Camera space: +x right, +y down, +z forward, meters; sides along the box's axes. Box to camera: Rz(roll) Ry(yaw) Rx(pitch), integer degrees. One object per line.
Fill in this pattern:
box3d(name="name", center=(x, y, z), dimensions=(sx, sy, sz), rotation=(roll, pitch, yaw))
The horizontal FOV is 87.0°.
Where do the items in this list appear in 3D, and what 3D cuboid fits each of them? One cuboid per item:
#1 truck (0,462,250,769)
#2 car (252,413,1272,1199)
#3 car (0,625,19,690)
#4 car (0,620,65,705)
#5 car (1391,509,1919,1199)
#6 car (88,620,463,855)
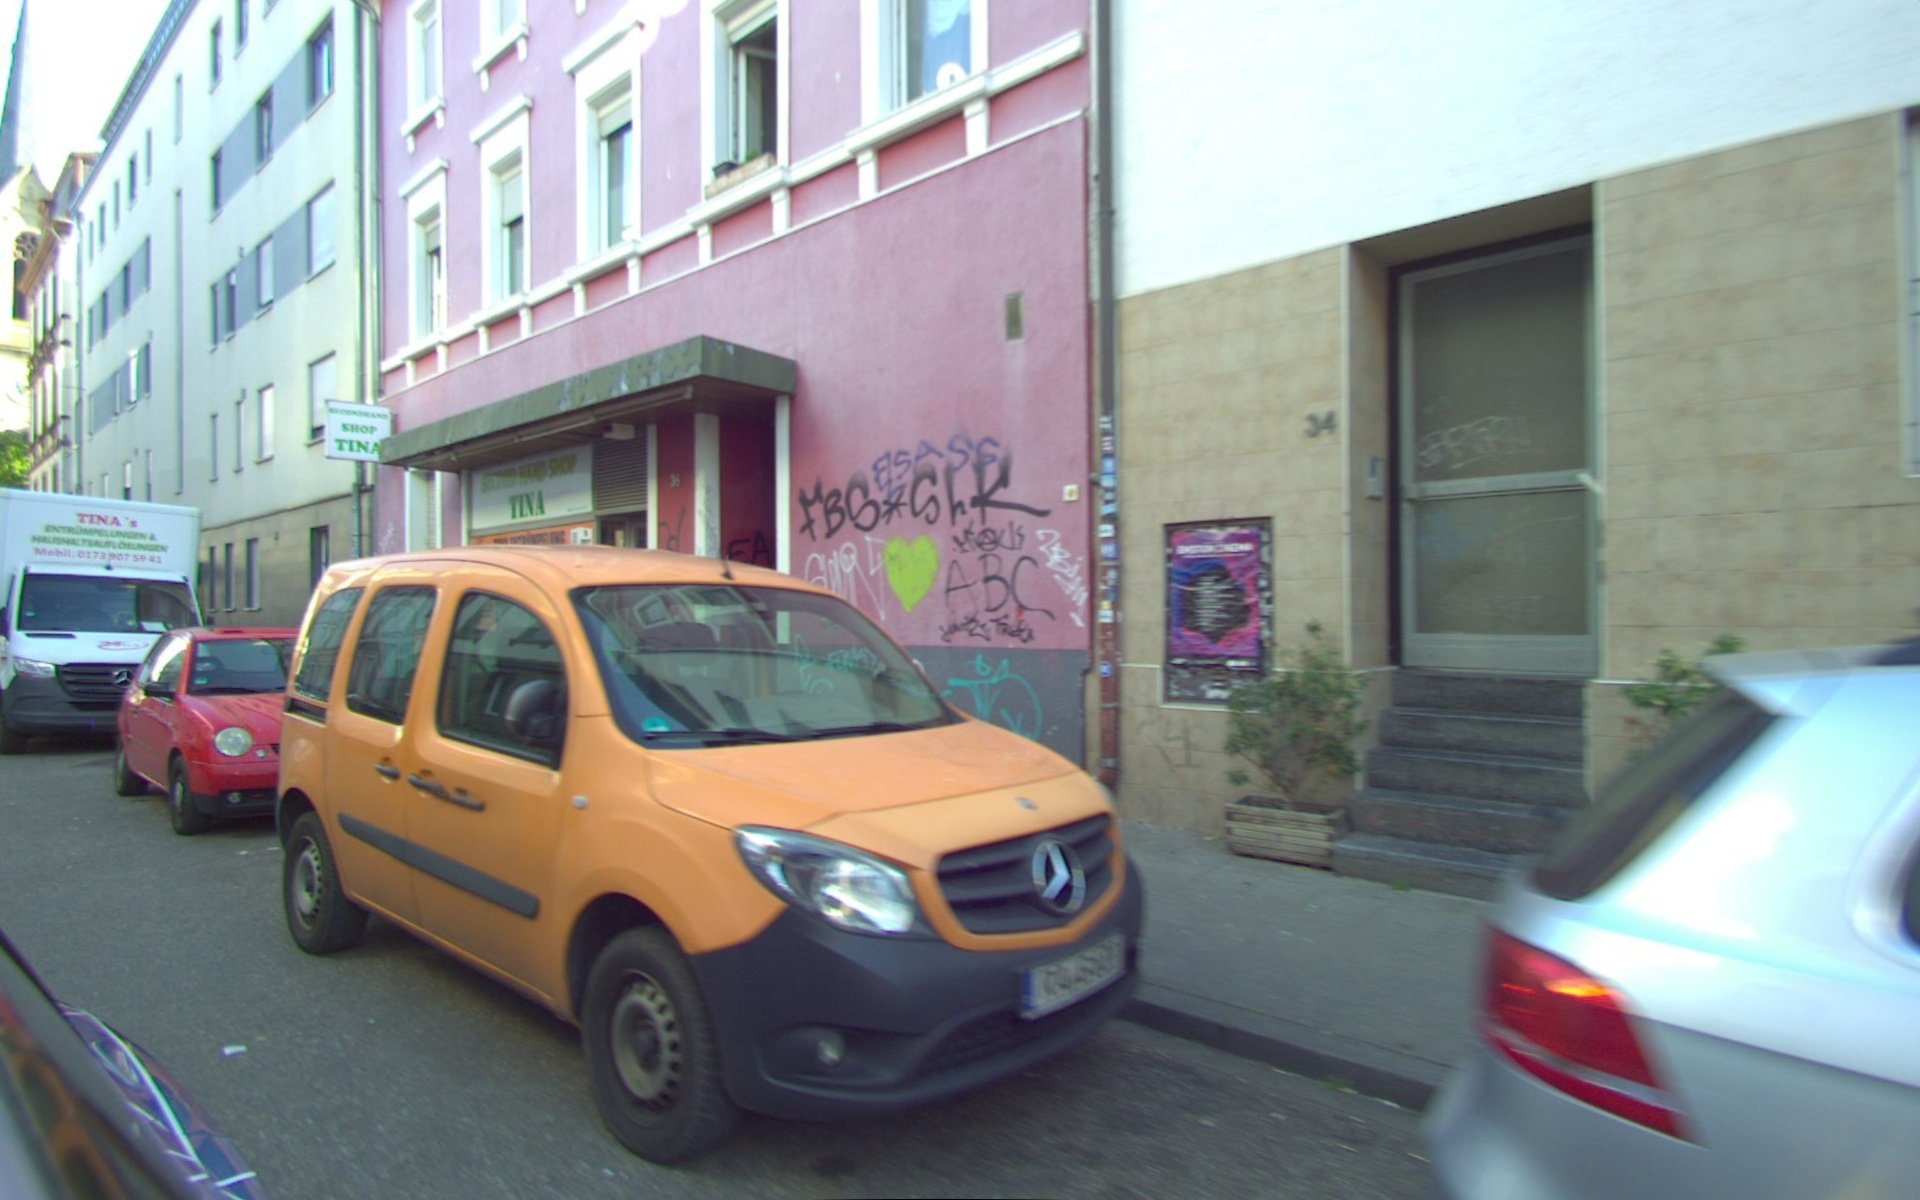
box3d(name="truck", center=(-11.908, 0.226, 13.730), dimensions=(7.044, 3.207, 2.266), rotation=(-1, -2, 43))
box3d(name="car", center=(-1.150, 0.605, 4.043), dimensions=(4.242, 1.859, 1.783), rotation=(-1, -2, 41))
box3d(name="car", center=(-24.000, 1.314, 24.270), dimensions=(3.912, 1.502, 1.665), rotation=(-1, -4, 41))
box3d(name="car", center=(-19.618, 1.219, 20.510), dimensions=(3.912, 1.600, 1.665), rotation=(-1, -4, 41))
box3d(name="car", center=(2.811, 0.669, 0.475), dimensions=(4.529, 1.508, 1.656), rotation=(-1, -3, 41))
box3d(name="car", center=(-5.691, 0.909, 8.262), dimensions=(3.658, 1.477, 1.665), rotation=(-1, -2, 41))
